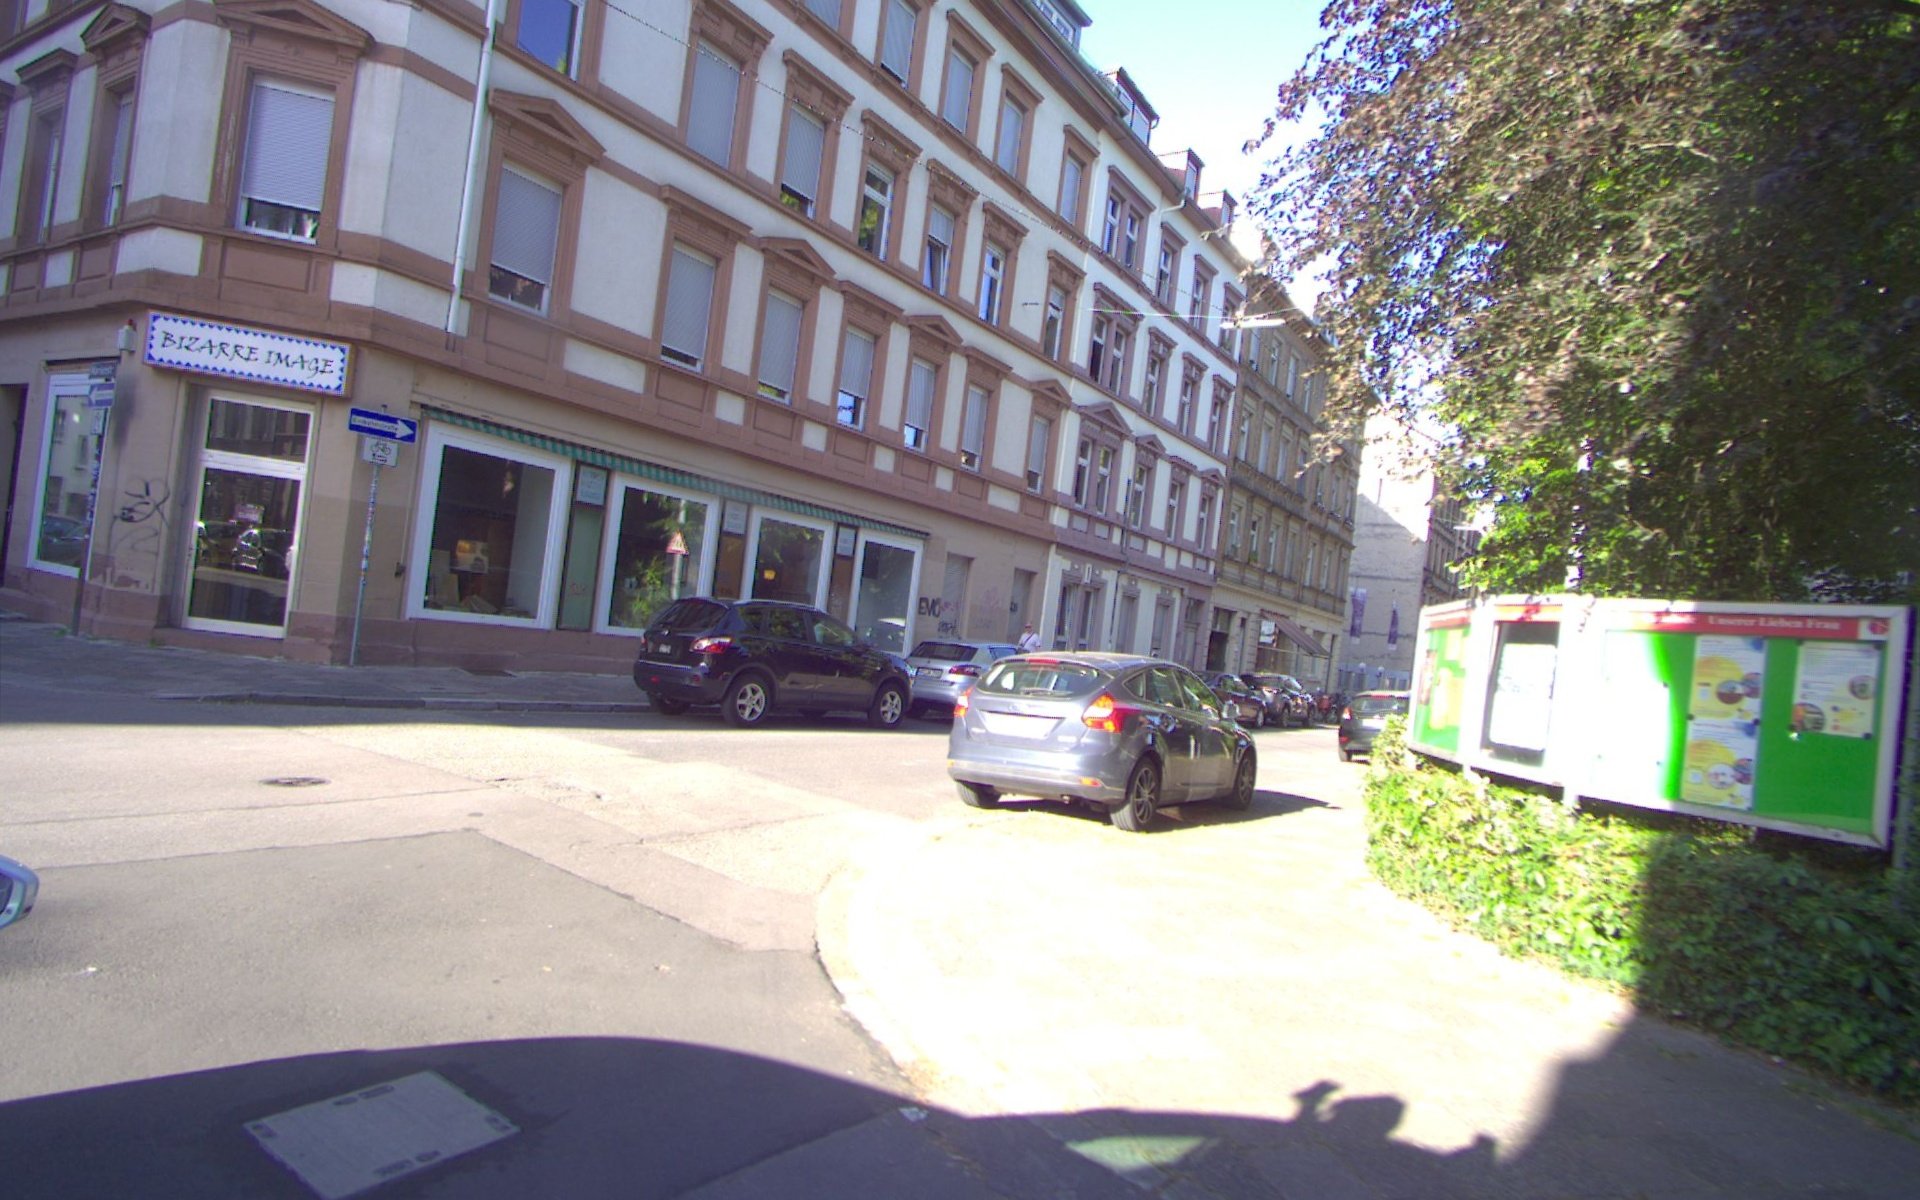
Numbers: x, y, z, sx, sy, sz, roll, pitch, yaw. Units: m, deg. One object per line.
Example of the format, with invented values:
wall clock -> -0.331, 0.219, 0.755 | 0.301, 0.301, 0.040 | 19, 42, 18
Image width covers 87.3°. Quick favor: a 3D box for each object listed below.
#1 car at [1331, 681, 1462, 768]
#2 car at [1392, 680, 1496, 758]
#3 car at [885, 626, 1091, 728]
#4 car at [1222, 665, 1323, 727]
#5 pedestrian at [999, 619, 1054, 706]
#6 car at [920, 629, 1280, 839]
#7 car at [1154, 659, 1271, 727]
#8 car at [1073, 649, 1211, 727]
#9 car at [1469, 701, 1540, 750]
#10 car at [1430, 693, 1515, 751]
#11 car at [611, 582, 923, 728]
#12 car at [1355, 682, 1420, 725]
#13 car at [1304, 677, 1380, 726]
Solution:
car -> 9.082, 2.573, 20.777 | 1.609, 1.489, 3.532 | 4, -4, 37
car -> 12.331, 3.027, 25.521 | 1.609, 1.667, 3.532 | 4, -4, 37
car -> 0.604, 1.419, 17.871 | 1.609, 1.489, 3.856 | 4, -4, 37
car -> 9.587, 2.964, 30.697 | 1.609, 1.570, 3.882 | 4, -4, 37
pedestrian -> 1.596, 1.506, 24.158 | 0.787, 1.943, 0.716 | 9, 0, 31
car -> 1.544, 1.224, 9.648 | 1.770, 1.455, 3.924 | 4, -4, 34
car -> 6.760, 2.500, 26.714 | 1.609, 1.489, 3.690 | 4, -4, 37
car -> 4.253, 2.066, 23.151 | 1.609, 1.489, 3.532 | 4, -4, 37
car -> 19.348, 4.465, 35.705 | 1.609, 1.489, 3.532 | 4, -4, 37
car -> 15.599, 3.719, 30.556 | 1.609, 1.489, 3.532 | 4, -4, 37
car -> -2.467, 0.821, 13.709 | 1.736, 1.626, 3.920 | 4, -3, 37
car -> 18.259, 4.436, 42.893 | 1.609, 1.570, 3.883 | 4, -4, 37
car -> 14.643, 3.893, 38.441 | 1.609, 1.570, 3.882 | 4, -4, 37
